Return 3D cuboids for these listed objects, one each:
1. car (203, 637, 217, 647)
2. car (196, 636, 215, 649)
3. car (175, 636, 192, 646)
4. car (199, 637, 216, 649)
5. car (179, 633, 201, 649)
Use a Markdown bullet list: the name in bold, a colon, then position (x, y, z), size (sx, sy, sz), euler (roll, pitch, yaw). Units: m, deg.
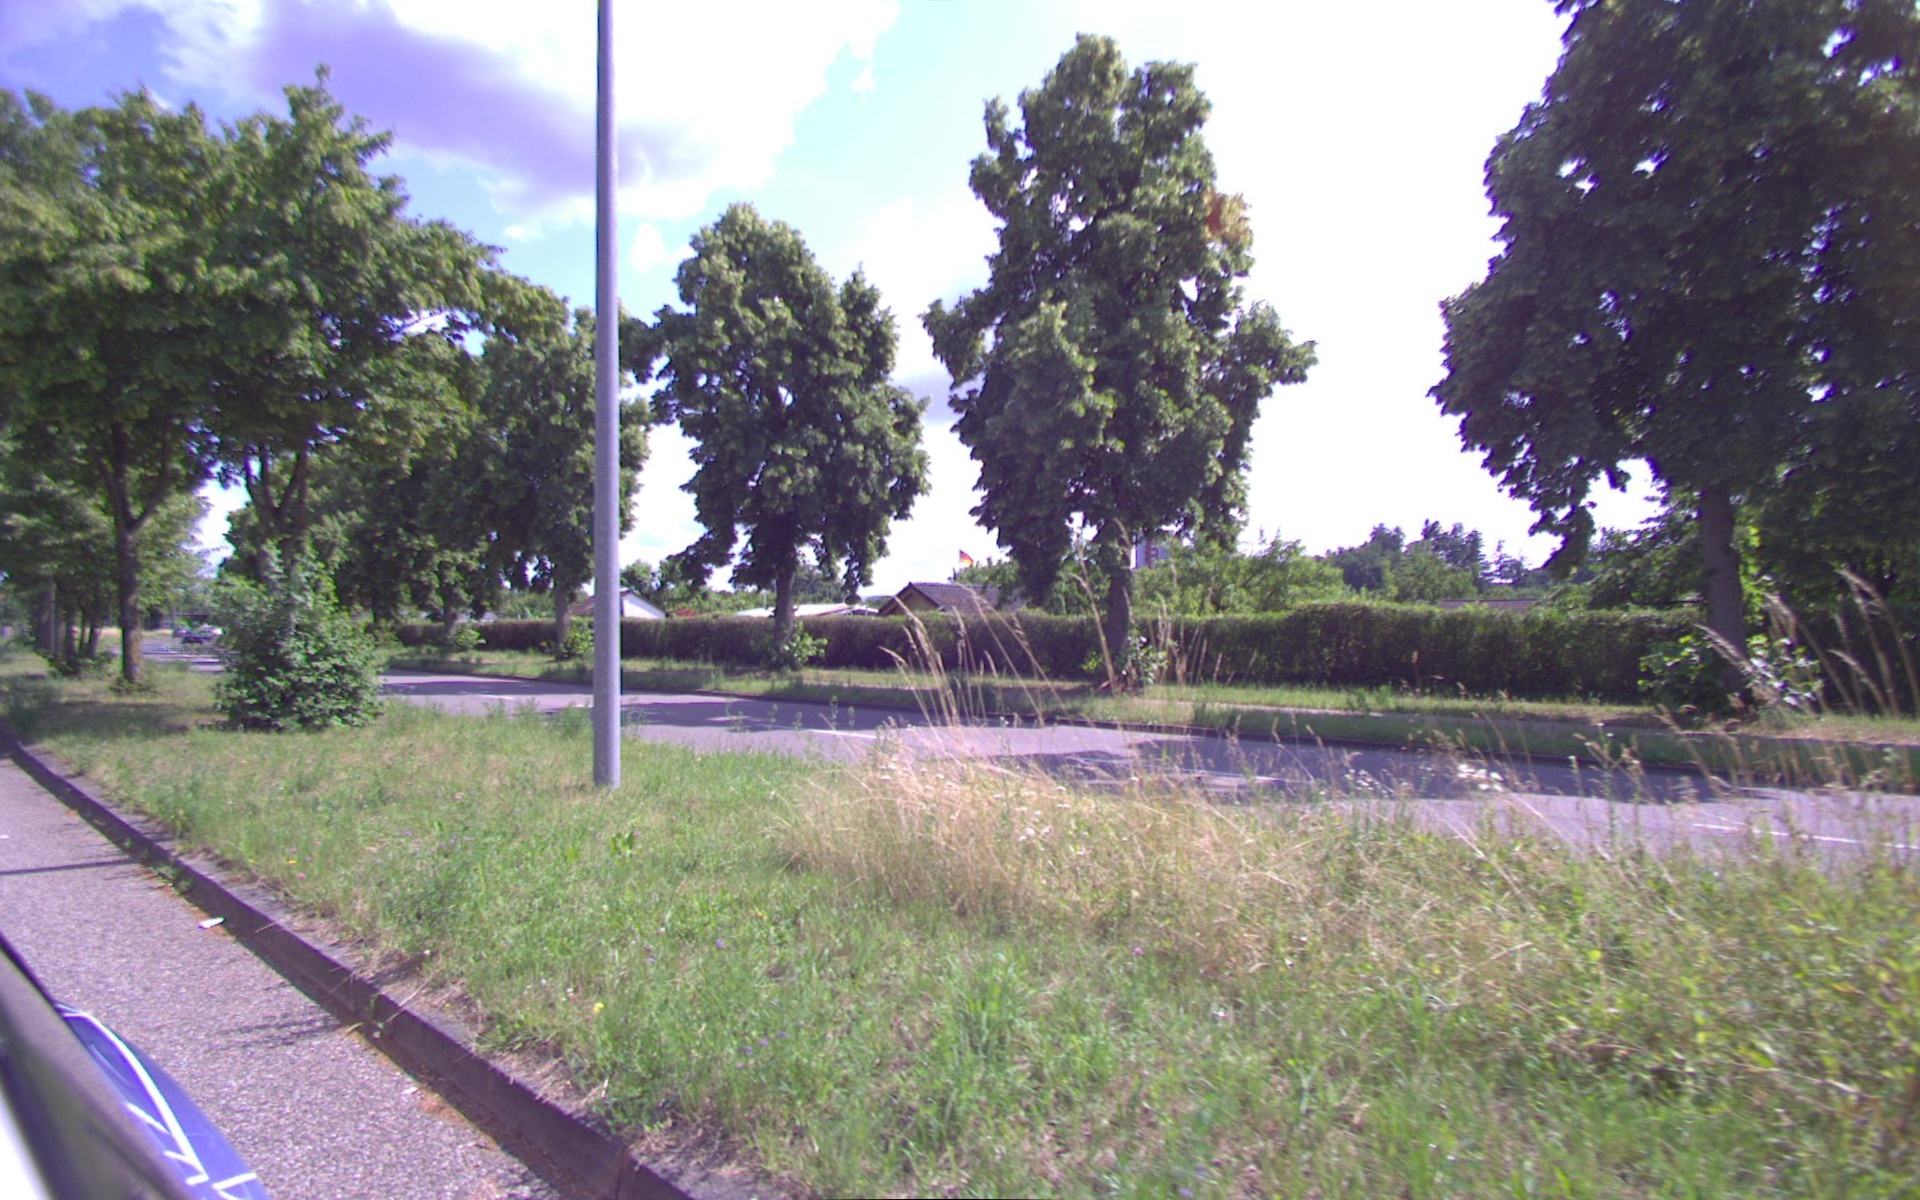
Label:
- **car**: position (-126.943, 7.096, 171.243), size (1.713, 1.598, 4.122), euler (2, -3, -35)
- **car**: position (-97.817, 5.506, 131.214), size (1.713, 1.598, 4.122), euler (2, -3, -35)
- **car**: position (-118.636, 6.255, 154.655), size (1.713, 1.598, 4.122), euler (2, -3, -35)
- **car**: position (-105.533, 6.068, 141.937), size (1.713, 1.598, 4.122), euler (2, -3, -35)
- **car**: position (-77.576, 4.132, 101.945), size (1.714, 1.598, 4.120), euler (3, -3, -38)
